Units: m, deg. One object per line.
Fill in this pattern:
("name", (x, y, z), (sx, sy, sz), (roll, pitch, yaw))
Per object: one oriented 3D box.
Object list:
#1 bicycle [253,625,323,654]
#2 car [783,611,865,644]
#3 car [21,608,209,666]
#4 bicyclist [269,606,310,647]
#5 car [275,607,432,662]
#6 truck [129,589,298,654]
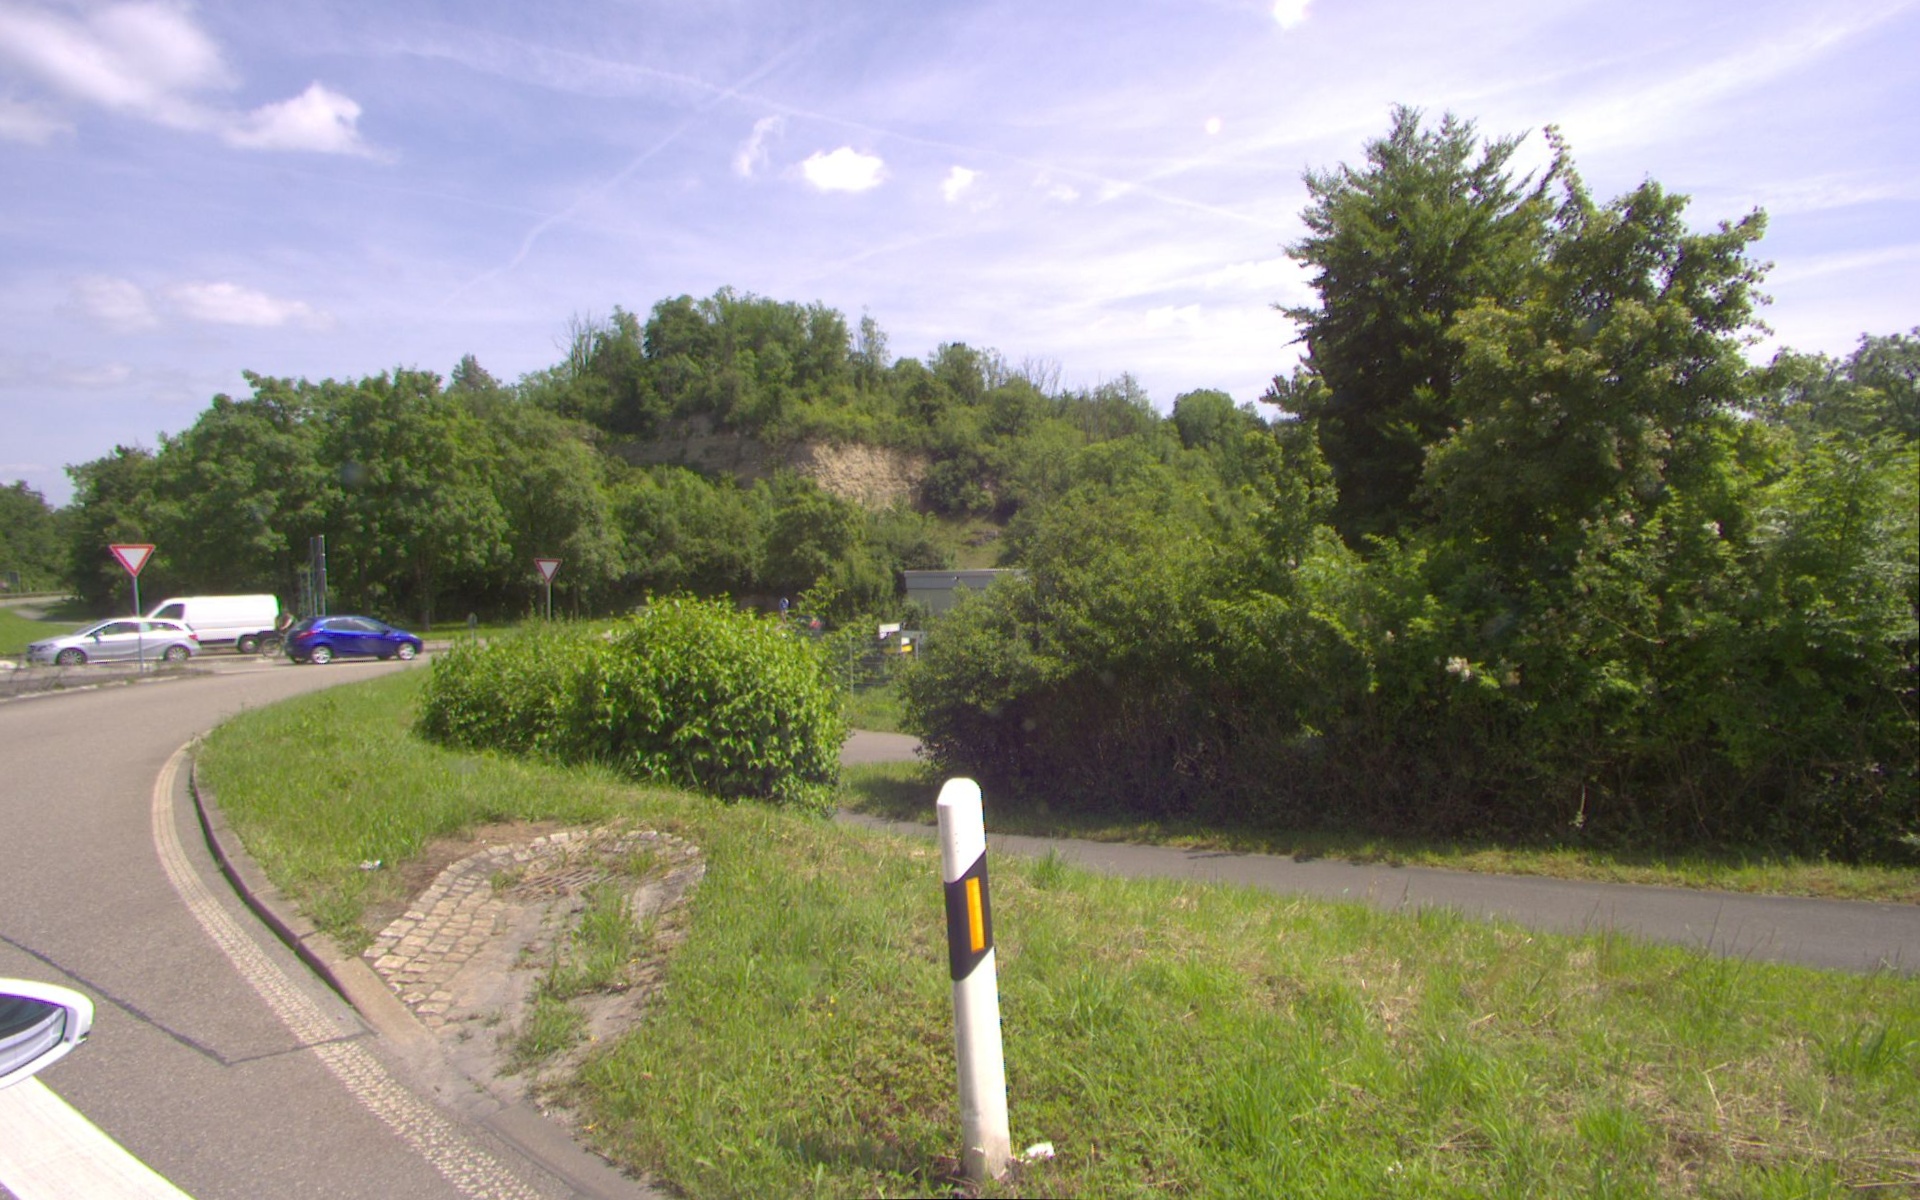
("bicycle", (-24.662, 1.431, 36.780), (0.785, 1.008, 1.987), (-3, -3, 29))
("car", (-6.723, 1.371, 49.938), (1.969, 1.509, 4.243), (-3, -3, 27))
("car", (-27.654, 1.212, 32.878), (1.975, 1.740, 4.413), (-3, -3, 37))
("bicyclist", (-24.654, 0.985, 36.831), (0.784, 1.466, 1.004), (-3, -2, 30))
("car", (-19.175, 1.094, 31.785), (1.856, 1.633, 3.836), (-3, -3, 34))
("truck", (-28.695, 0.843, 38.605), (5.106, 2.324, 1.984), (0, -3, -41))
